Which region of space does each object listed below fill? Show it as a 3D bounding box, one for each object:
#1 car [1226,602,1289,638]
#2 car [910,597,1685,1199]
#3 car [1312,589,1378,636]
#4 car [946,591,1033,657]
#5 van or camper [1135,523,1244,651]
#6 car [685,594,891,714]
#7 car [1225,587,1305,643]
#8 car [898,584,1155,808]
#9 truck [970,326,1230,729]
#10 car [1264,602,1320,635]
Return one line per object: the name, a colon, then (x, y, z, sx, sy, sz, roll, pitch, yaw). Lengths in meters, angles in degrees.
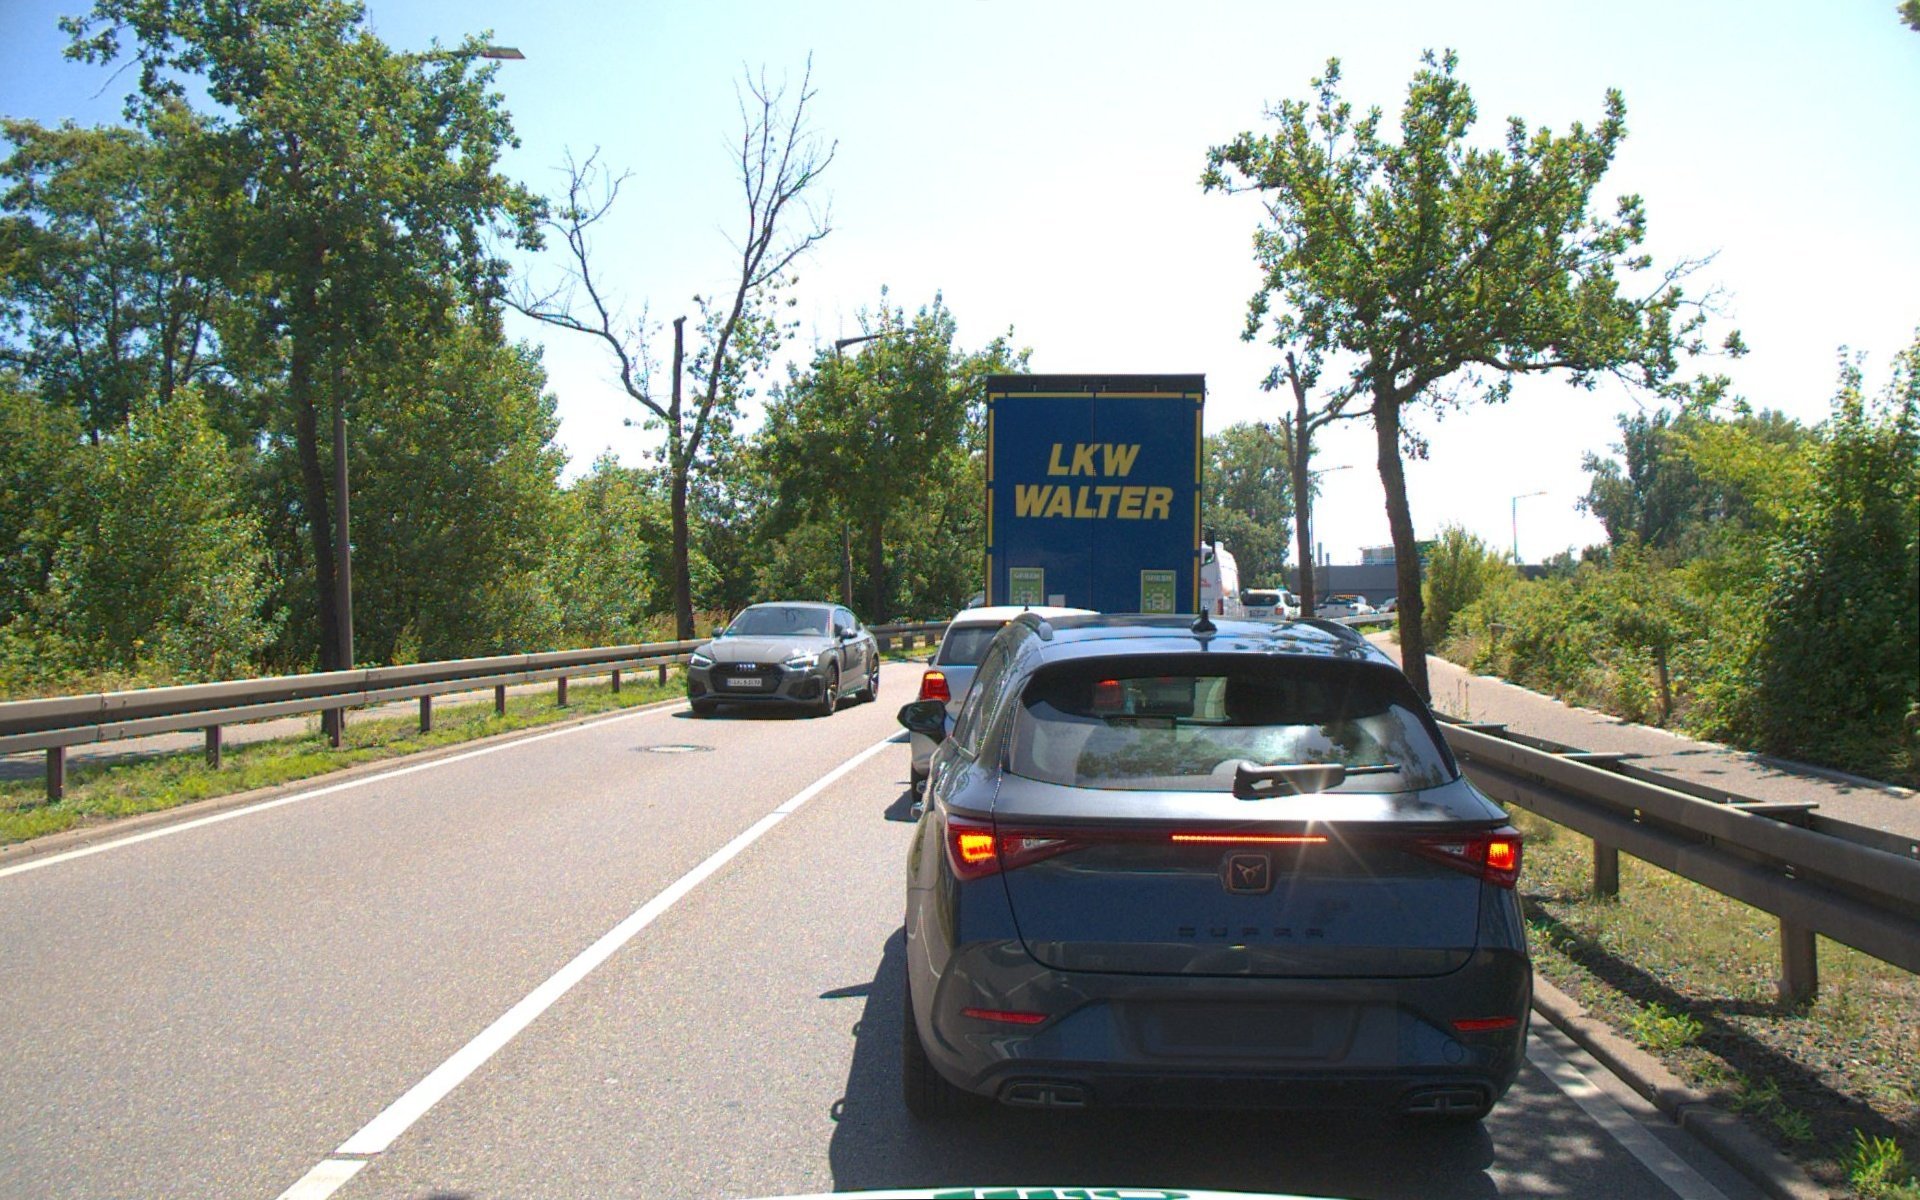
car: (12.401, 0.831, 68.744, 1.819, 1.420, 4.406, 1, 0, 20)
car: (0.738, 0.733, 5.608, 1.708, 1.457, 3.879, 1, 0, 0)
car: (15.858, 0.493, 67.961, 1.952, 1.840, 4.845, 1, 0, 21)
car: (0.753, 0.548, 40.027, 1.635, 1.491, 3.823, 1, 0, 8)
van or camper: (6.013, -0.313, 42.686, 2.413, 3.051, 6.091, 1, 0, 11)
car: (-2.181, 0.649, 22.223, 1.722, 1.420, 4.409, 1, 0, 8)
car: (10.106, 0.485, 54.479, 1.952, 1.742, 4.622, 1, 0, 18)
car: (0.498, 0.666, 13.518, 1.772, 1.534, 4.000, 1, 0, 1)
truck: (2.634, -0.832, 27.103, 2.887, 4.526, 16.811, 1, 0, 7)
car: (15.170, 0.820, 75.426, 1.819, 1.420, 4.406, 1, 0, 20)
